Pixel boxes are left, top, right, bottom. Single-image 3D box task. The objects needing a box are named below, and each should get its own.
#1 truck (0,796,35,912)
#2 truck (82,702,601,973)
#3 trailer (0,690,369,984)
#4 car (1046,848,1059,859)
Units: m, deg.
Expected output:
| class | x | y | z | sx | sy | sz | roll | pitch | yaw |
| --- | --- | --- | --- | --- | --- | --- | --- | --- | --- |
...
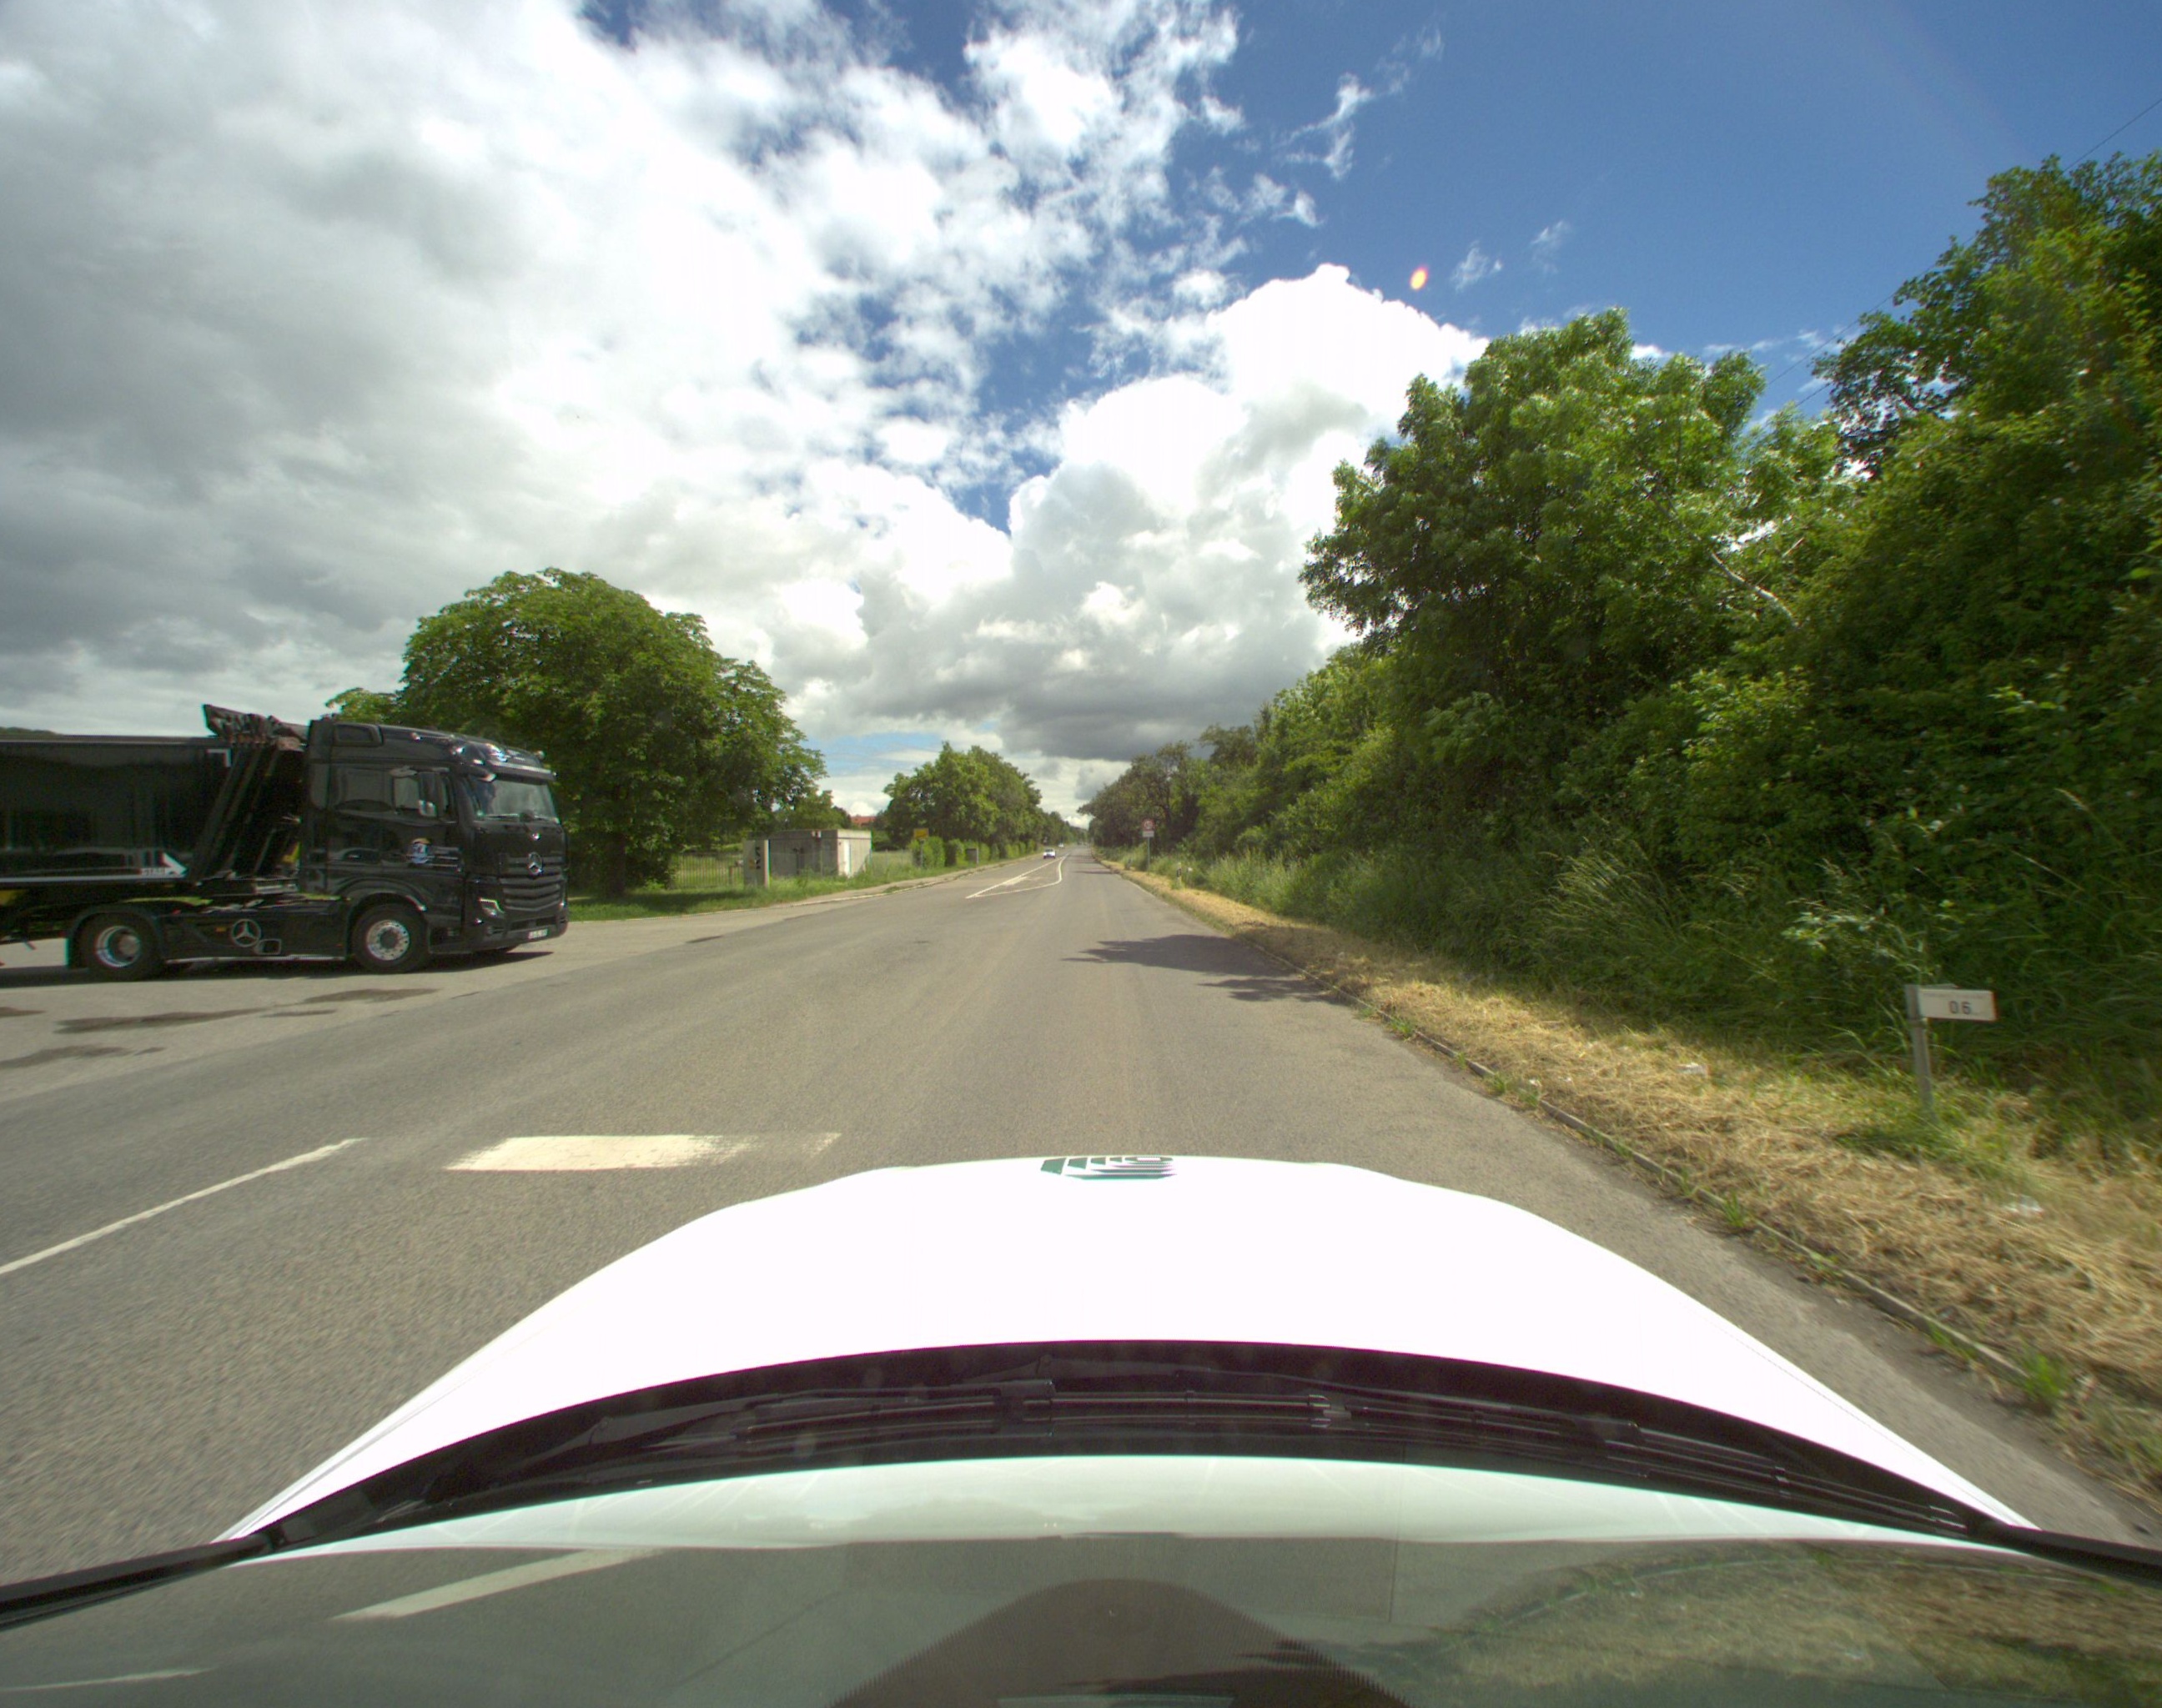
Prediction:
| class | x | y | z | sx | sy | sz | roll | pitch | yaw |
| --- | --- | --- | --- | --- | --- | --- | --- | --- | --- |
| truck | -31.288 | 0.113 | 18.595 | 2.632 | 3.049 | 8.639 | -2 | 0 | 23 |
| truck | -11.653 | -0.284 | 13.438 | 5.544 | 3.823 | 2.980 | -2 | 0 | -5 |
| trailer | -17.463 | -0.164 | 12.303 | 9.454 | 4.083 | 3.302 | -2 | 0 | -16 |
| car | -3.890 | -0.081 | 112.148 | 1.656 | 1.432 | 3.691 | -3 | 1 | -1 |
